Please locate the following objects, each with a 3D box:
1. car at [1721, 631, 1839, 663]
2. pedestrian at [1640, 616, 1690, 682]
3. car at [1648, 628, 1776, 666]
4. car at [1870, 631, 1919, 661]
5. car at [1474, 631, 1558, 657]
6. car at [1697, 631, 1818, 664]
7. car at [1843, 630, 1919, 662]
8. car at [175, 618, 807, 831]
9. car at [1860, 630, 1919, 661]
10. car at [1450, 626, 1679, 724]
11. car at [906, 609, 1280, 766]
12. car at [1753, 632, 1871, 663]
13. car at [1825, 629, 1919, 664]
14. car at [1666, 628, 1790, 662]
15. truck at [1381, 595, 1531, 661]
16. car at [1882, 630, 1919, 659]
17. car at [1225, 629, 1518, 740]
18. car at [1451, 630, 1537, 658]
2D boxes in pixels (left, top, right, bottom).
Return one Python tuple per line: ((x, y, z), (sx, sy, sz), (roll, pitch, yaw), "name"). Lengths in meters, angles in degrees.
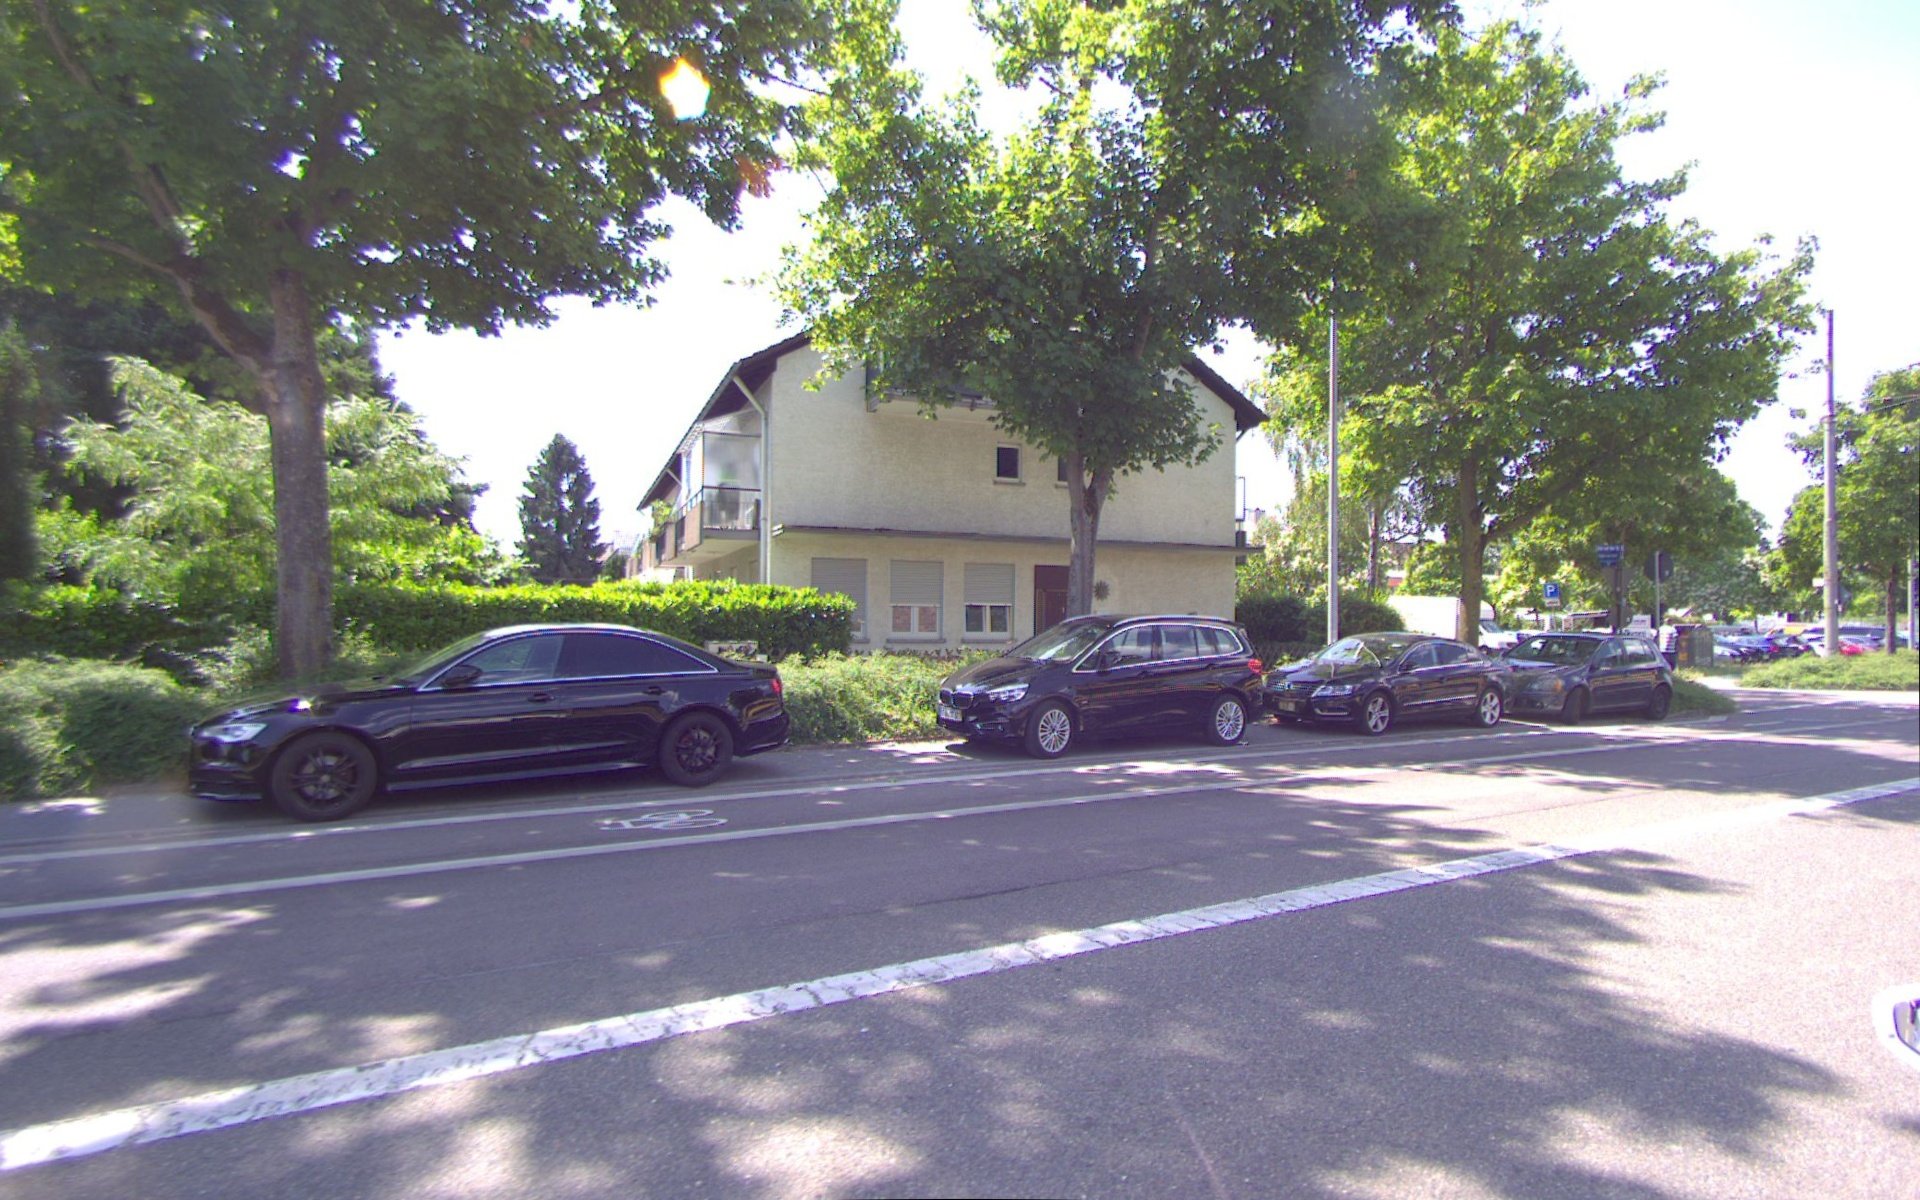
((38.509, 2.179, 47.247), (1.784, 1.357, 3.968), (1, -1, -30), "car")
((20.211, 1.378, 28.803), (0.786, 1.847, 0.969), (1, -1, -32), "pedestrian")
((31.617, 1.943, 42.329), (1.784, 1.461, 3.968), (1, -1, -30), "car")
((53.718, 2.548, 56.090), (1.784, 1.628, 3.968), (1, -1, -30), "car")
((32.405, 2.546, 58.656), (1.784, 1.461, 3.968), (1, -1, -30), "car")
((36.103, 2.113, 45.580), (1.784, 1.357, 3.968), (1, -1, -30), "car")
((49.213, 2.393, 52.754), (1.784, 1.628, 3.968), (1, -1, -30), "car")
((-3.933, 0.930, 9.064), (4.750, 1.475, 1.765), (1, -1, -32), "car")
((51.564, 2.476, 54.331), (1.784, 1.628, 3.968), (1, -1, -30), "car")
((10.746, 1.252, 17.800), (4.000, 1.500, 1.766), (1, 1, -30), "car")
((1.757, 0.974, 12.623), (4.585, 1.625, 1.765), (1, 0, -32), "car")
((40.850, 2.266, 48.242), (1.784, 1.357, 3.968), (1, -1, -30), "car")
((45.928, 2.284, 50.015), (1.784, 1.628, 3.968), (1, -1, -30), "car")
((33.484, 1.936, 43.890), (1.784, 1.357, 3.968), (1, -1, -30), "car")
((26.448, 1.469, 53.932), (2.306, 3.270, 7.149), (1, -1, -31), "truck")
((55.624, 2.567, 57.427), (1.784, 1.628, 3.968), (1, -1, -30), "car")
((6.378, 1.193, 15.399), (4.644, 1.391, 1.765), (1, 1, -32), "car")
((30.205, 2.466, 56.902), (1.784, 1.461, 3.968), (1, -1, -30), "car")
